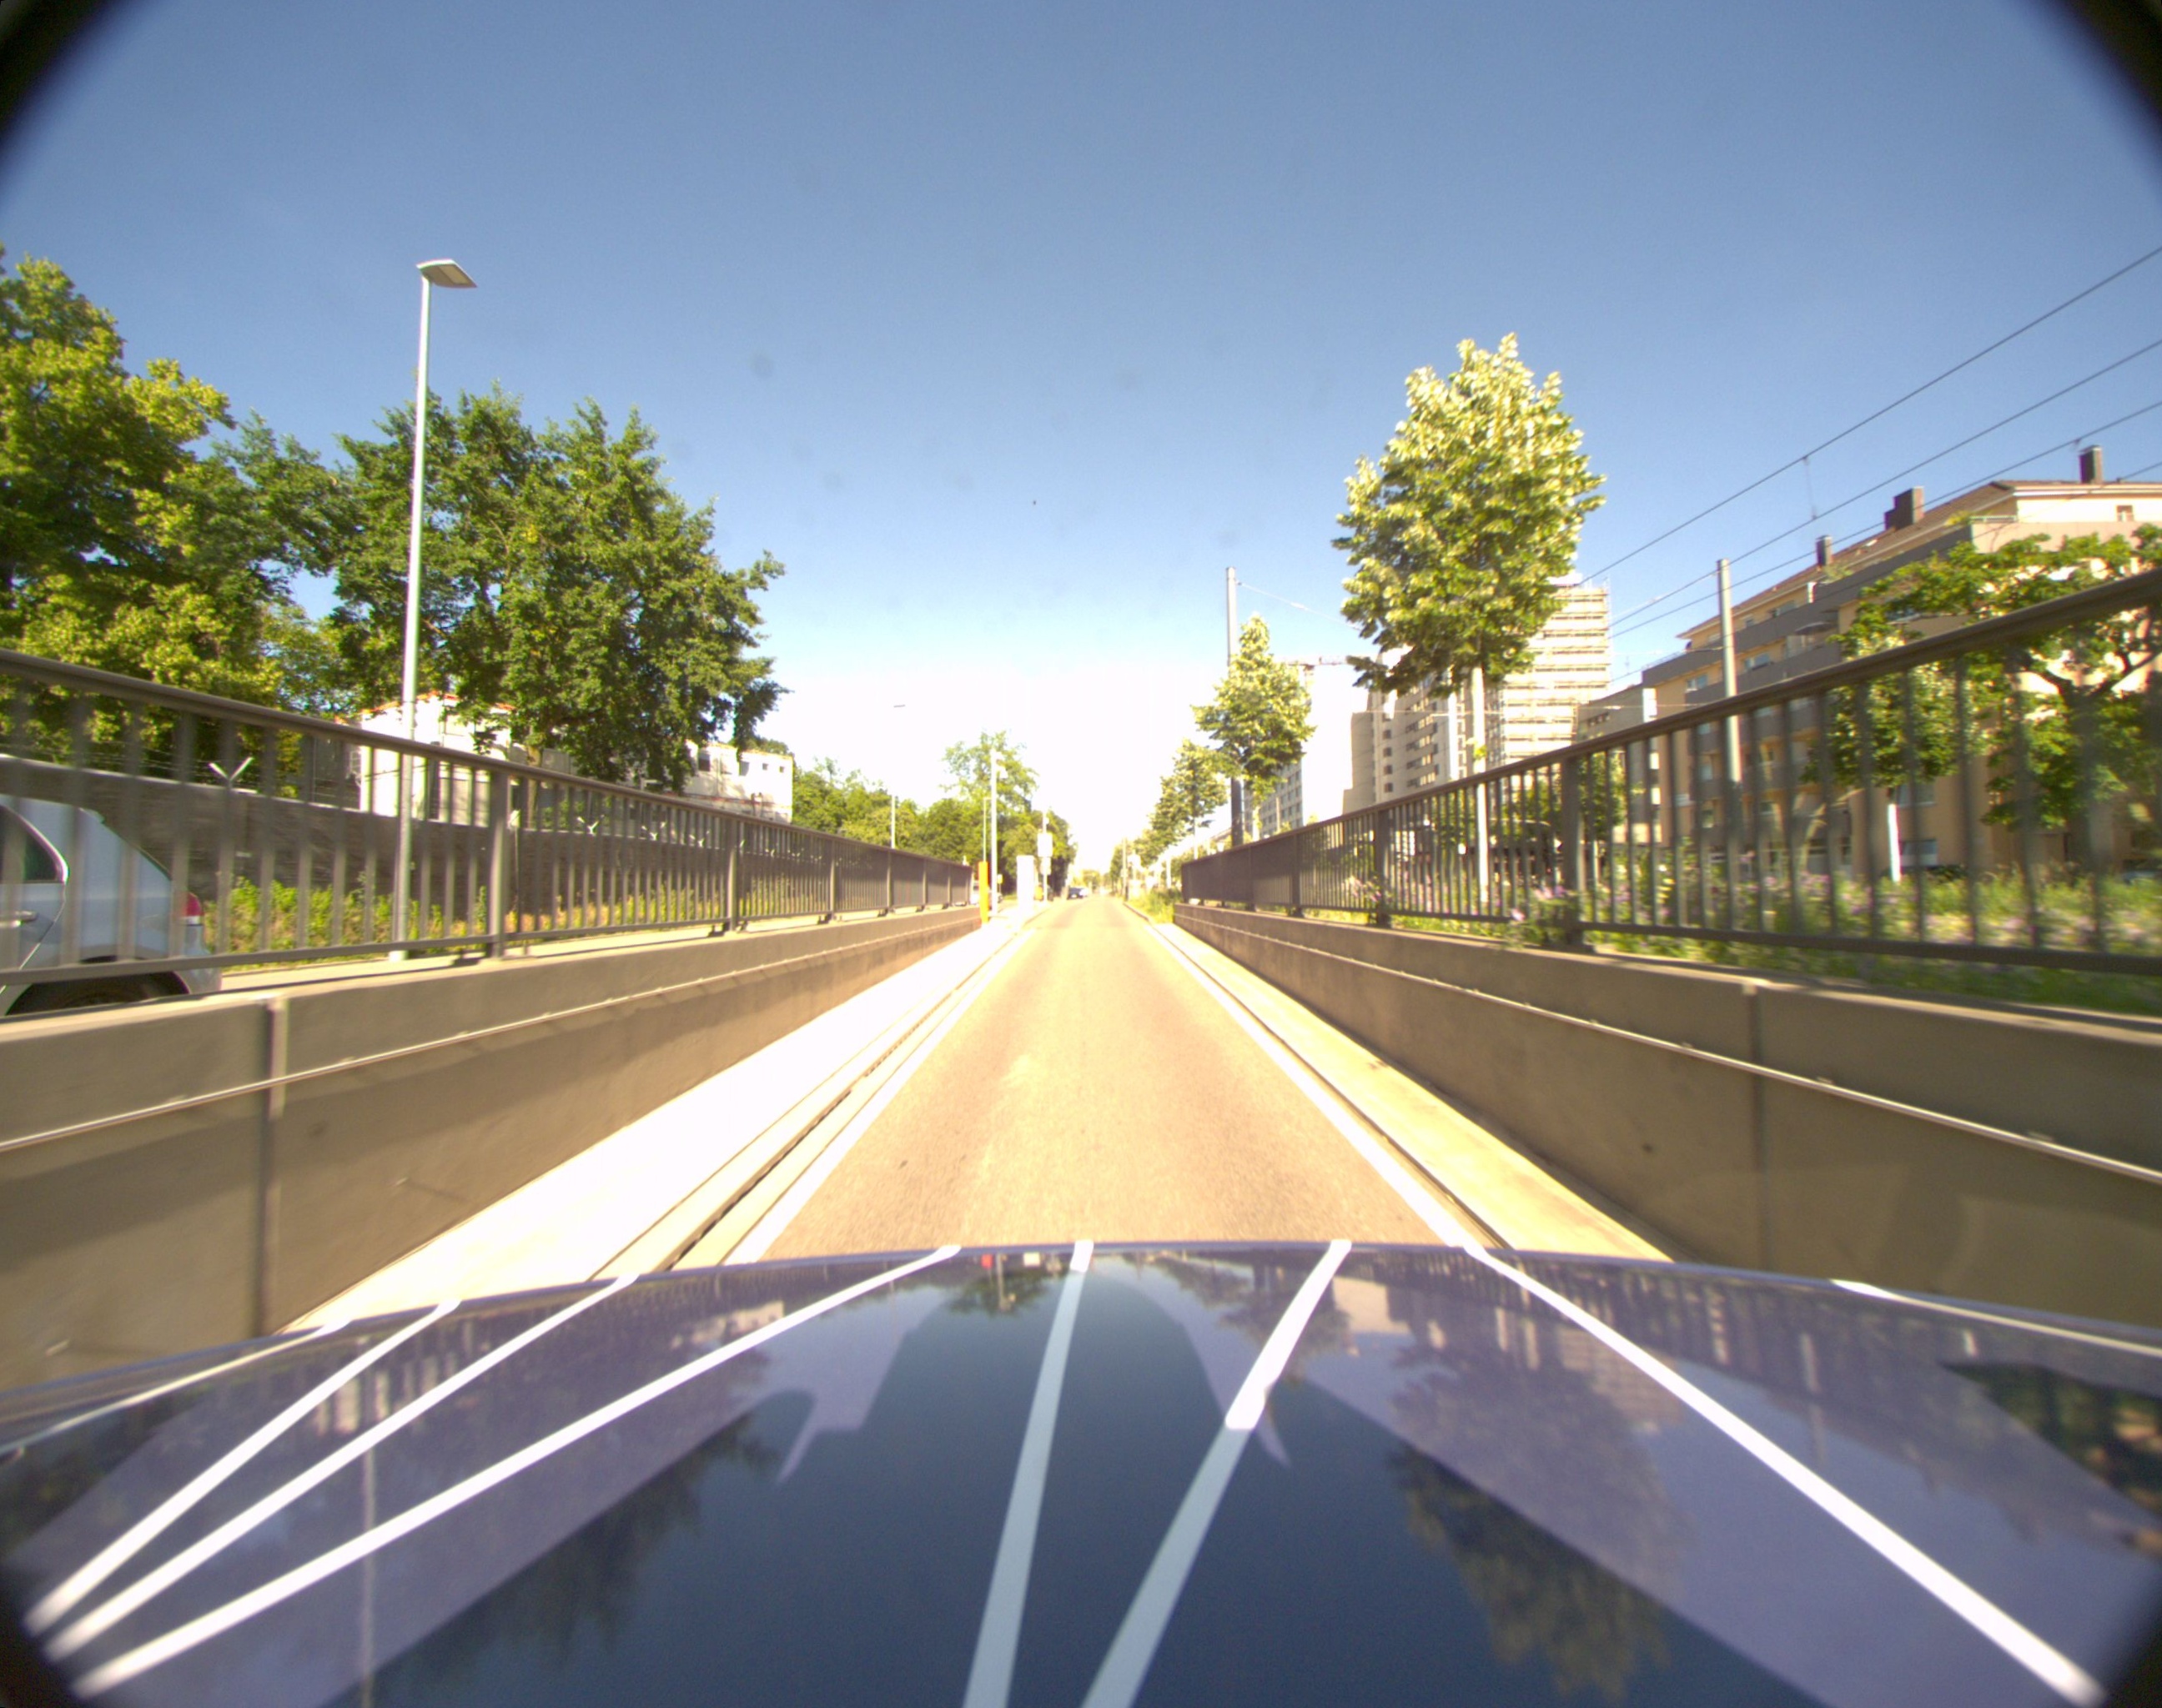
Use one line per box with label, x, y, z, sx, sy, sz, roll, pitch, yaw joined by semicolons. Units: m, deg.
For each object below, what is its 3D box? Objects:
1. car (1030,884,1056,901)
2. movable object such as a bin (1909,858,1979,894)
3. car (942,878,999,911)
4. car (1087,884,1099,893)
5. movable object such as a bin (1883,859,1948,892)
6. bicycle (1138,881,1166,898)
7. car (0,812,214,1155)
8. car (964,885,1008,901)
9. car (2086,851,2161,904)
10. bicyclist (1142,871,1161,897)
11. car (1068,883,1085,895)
car;-3.160;3.181;63.603;1.829;1.327;4.002;-1;-2;2
movable object such as a bin;35.375;0.902;31.168;1.266;1.391;1.327;-3;-2;5
car;-4.972;1.821;34.761;1.838;1.392;4.301;-1;-2;2
car;1.811;5.176;115.039;1.829;1.327;4.002;-1;-2;2
movable object such as a bin;35.587;0.929;32.416;1.267;1.361;1.327;-1;-2;1
bicycle;4.576;2.294;49.366;0.726;1.049;1.978;-2;0;-33
car;-5.344;0.527;1.962;1.671;1.426;3.974;-2;-2;-1
car;-8.521;3.474;68.145;3.734;1.393;1.484;-2;-2;23
car;36.834;0.747;25.373;3.997;1.716;1.916;-1;-2;-1
bicyclist;4.576;1.974;49.360;0.861;1.676;0.818;0;-2;-33
car;-0.510;4.176;90.744;1.829;1.327;4.002;-1;-2;2
